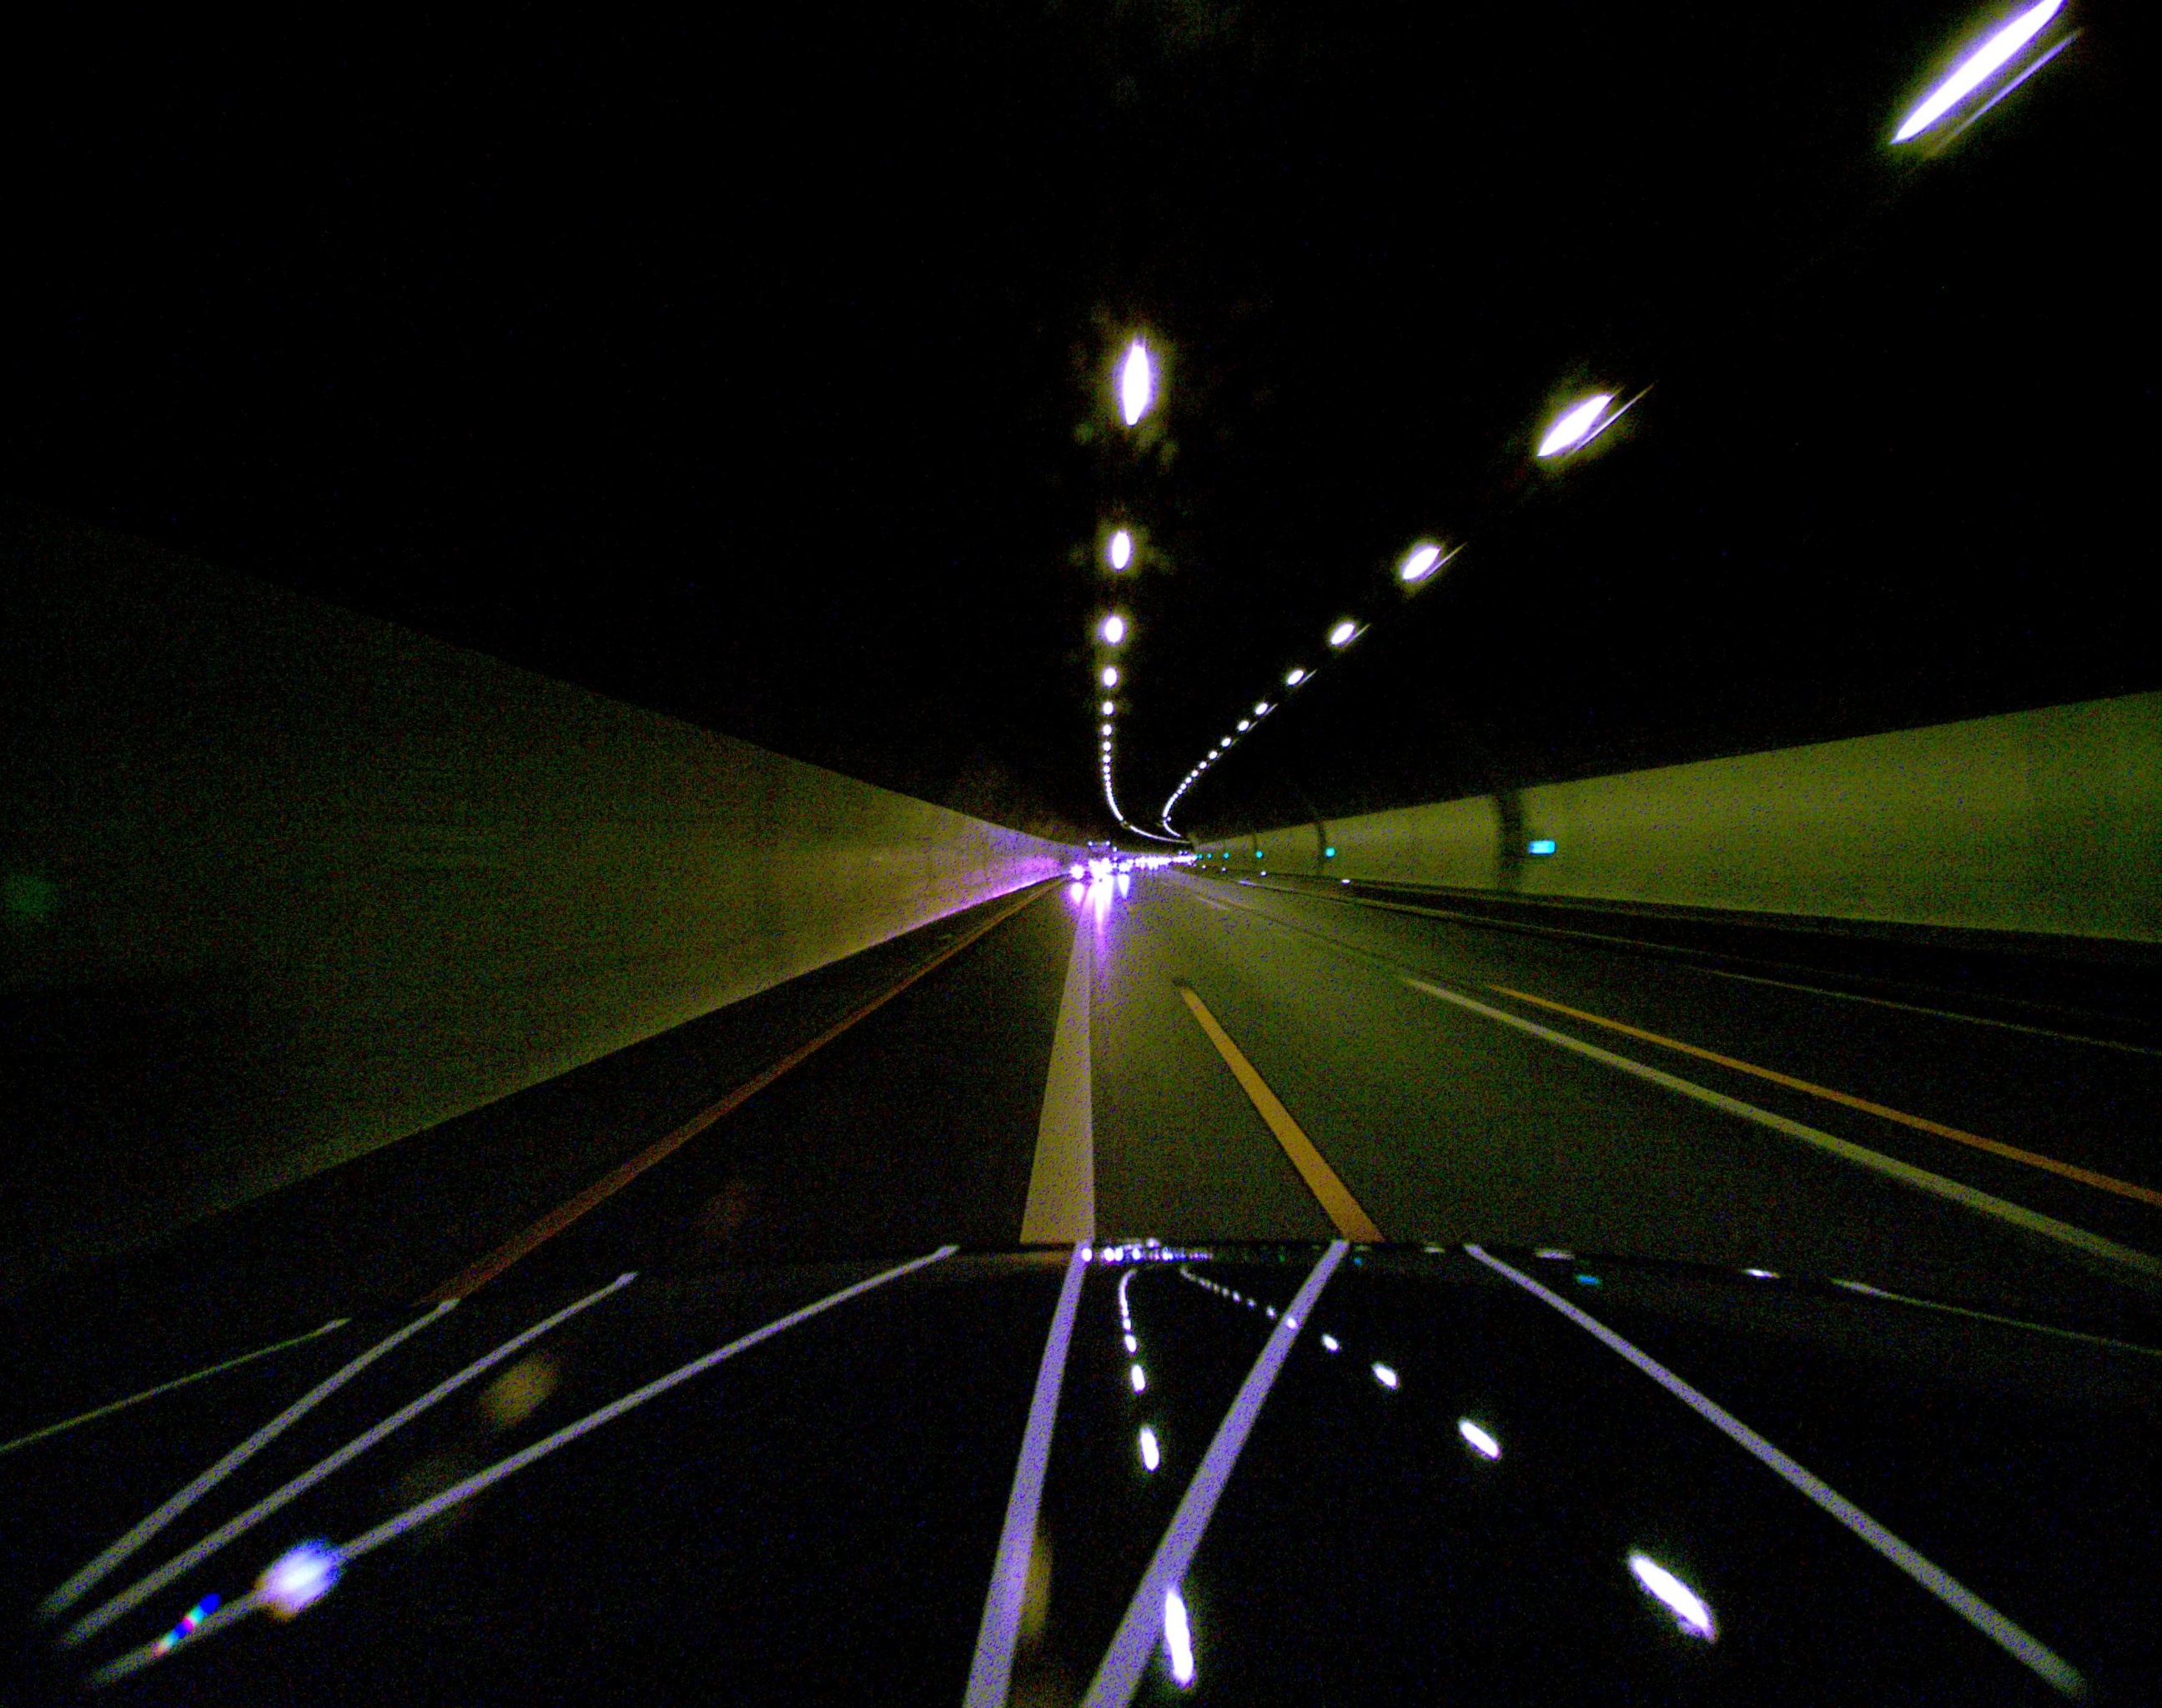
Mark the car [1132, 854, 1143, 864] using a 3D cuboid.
[{"bbox_3d":[12.478,1.063,167.200,1.997,1.893,4.003,-3,0,10],"label":"car"}]

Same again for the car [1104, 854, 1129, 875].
[{"bbox_3d":[3.143,0.905,67.319,1.998,1.655,4.001,-4,1,4],"label":"car"}]

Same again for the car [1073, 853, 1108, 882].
[{"bbox_3d":[0.669,0.849,50.618,2.171,1.709,4.482,-3,0,2],"label":"car"}]

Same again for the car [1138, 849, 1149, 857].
[{"bbox_3d":[15.163,-0.203,183.620,1.997,1.917,4.389,-3,0,13],"label":"car"}]

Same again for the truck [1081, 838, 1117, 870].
[{"bbox_3d":[2.090,0.006,83.982,2.987,3.161,10.512,-3,0,6],"label":"truck"}]
